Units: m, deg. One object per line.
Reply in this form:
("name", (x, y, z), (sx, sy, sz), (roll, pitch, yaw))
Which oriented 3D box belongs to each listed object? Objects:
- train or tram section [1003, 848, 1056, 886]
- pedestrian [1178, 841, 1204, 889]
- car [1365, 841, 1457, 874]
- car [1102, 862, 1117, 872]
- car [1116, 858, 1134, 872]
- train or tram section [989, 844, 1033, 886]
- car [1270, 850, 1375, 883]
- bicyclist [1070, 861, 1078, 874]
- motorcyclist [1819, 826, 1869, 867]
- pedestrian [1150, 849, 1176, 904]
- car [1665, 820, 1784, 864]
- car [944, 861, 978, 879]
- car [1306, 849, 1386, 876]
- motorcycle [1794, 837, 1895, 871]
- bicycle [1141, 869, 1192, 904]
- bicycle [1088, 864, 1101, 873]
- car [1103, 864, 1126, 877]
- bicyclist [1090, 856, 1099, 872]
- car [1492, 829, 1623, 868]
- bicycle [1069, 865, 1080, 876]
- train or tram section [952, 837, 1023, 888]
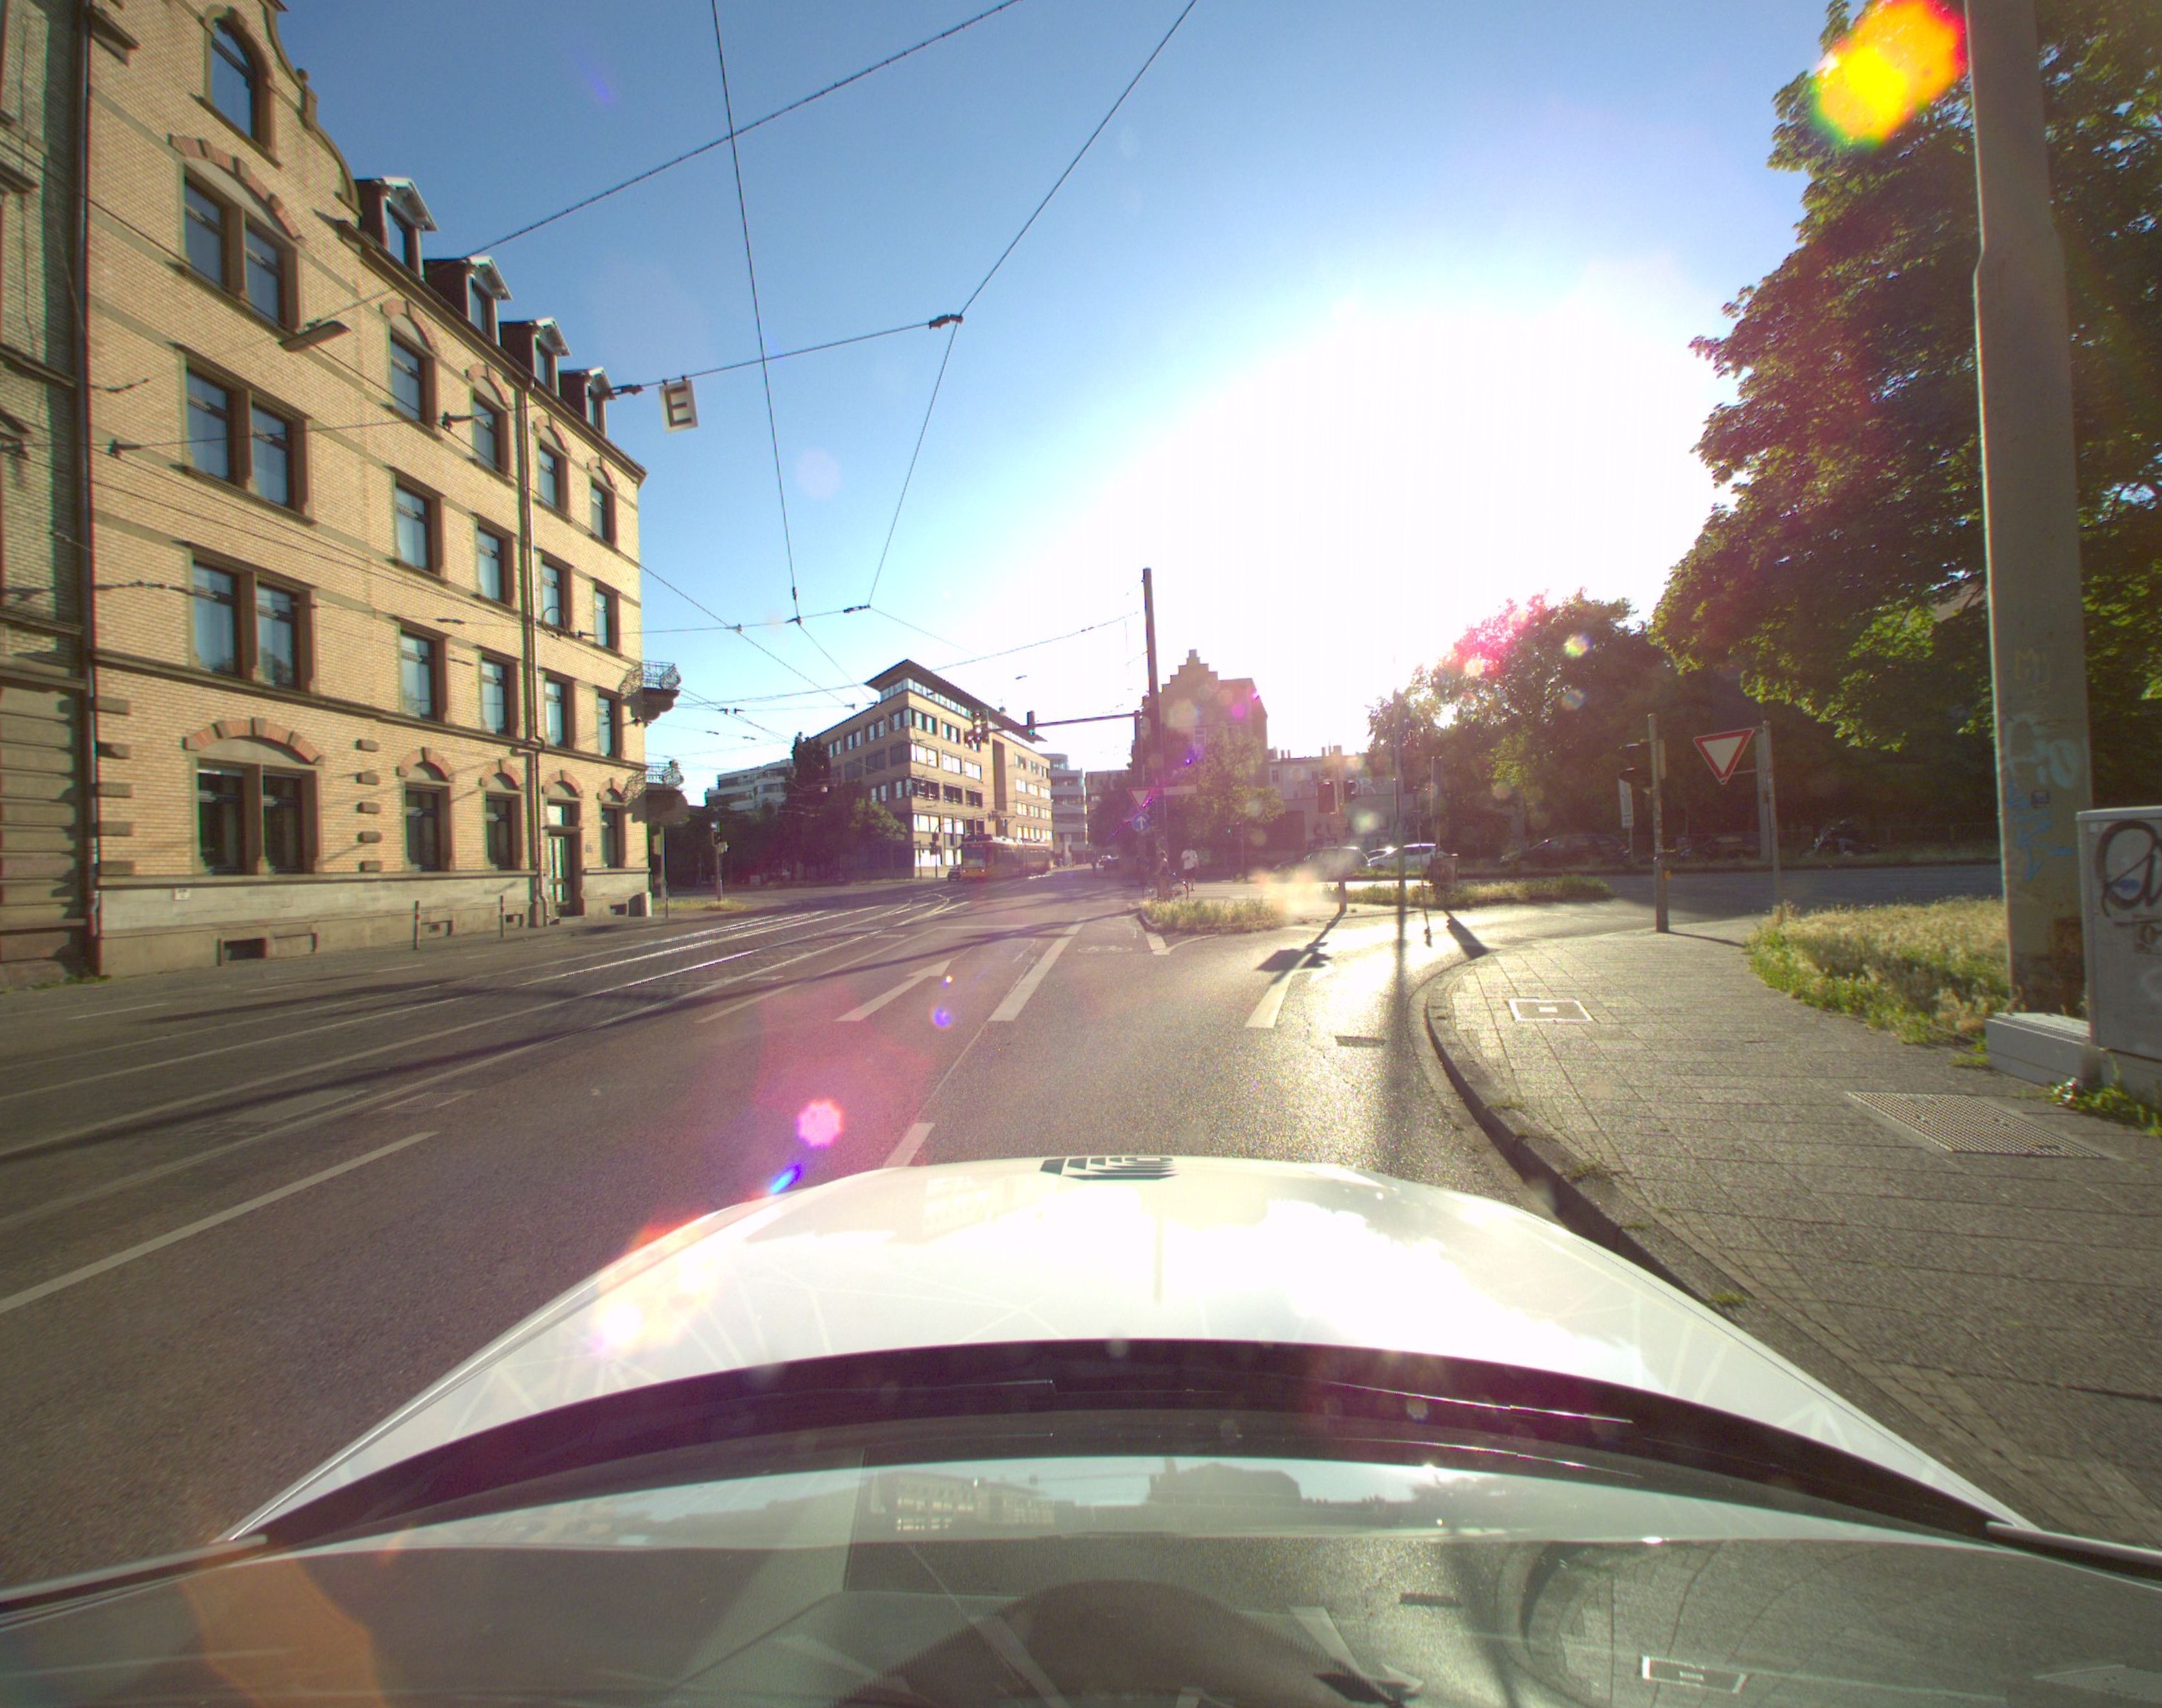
("train or tram section", (-4.950, 1.287, 81.185), (2.844, 3.508, 11.322), (-2, -1, 8))
("pedestrian", (4.278, 0.436, 31.590), (0.903, 1.789, 0.829), (-3, -1, 10))
("car", (15.451, 0.183, 38.157), (3.847, 1.319, 1.734), (-3, -1, 24))
("car", (4.875, 2.238, 139.628), (1.803, 1.615, 4.479), (-3, -1, 12))
("car", (6.061, 1.506, 111.236), (1.981, 1.816, 4.010), (-1, -2, 10))
("train or tram section", (-6.213, 1.004, 72.897), (2.846, 3.508, 5.312), (-2, -1, 6))
("car", (10.797, 0.559, 36.430), (4.195, 1.296, 1.735), (-3, -1, 27))
("bicyclist", (-1.053, 2.089, 127.132), (1.022, 2.014, 1.251), (-1, -2, 14))
("motorcyclist", (27.354, -0.271, 29.204), (1.048, 1.398, 0.859), (-3, -1, 26))
("pedestrian", (2.493, 0.683, 24.850), (0.519, 1.631, 0.492), (-4, -2, 45))
("car", (28.819, -0.482, 36.641), (3.949, 1.794, 1.760), (-1, -2, 29))
("car", (-10.026, 1.356, 68.470), (1.800, 1.380, 4.168), (-2, -1, 5))
("car", (14.194, 0.465, 43.595), (3.847, 1.296, 1.734), (-3, -1, 24))
("motorcycle", (27.339, 0.012, 29.226), (2.439, 1.108, 0.866), (-3, -1, 26))
("bicycle", (2.604, 0.996, 24.920), (0.402, 1.029, 1.651), (-1, -2, -45))
("bicycle", (1.273, 1.343, 75.767), (0.690, 0.877, 2.034), (-3, -1, 14))
("car", (3.684, 1.793, 88.874), (1.772, 1.388, 4.015), (-3, -1, 14))
("bicyclist", (1.268, 0.931, 75.812), (0.669, 1.522, 0.816), (-3, -1, 13))
("car", (18.777, -0.192, 32.350), (4.322, 1.296, 1.734), (-3, -1, 26))
("bicycle", (-1.051, 2.511, 127.039), (1.023, 1.651, 2.570), (-3, -1, 14))
("train or tram section", (-7.045, 0.692, 63.820), (2.847, 3.508, 13.031), (-2, -1, 5))
